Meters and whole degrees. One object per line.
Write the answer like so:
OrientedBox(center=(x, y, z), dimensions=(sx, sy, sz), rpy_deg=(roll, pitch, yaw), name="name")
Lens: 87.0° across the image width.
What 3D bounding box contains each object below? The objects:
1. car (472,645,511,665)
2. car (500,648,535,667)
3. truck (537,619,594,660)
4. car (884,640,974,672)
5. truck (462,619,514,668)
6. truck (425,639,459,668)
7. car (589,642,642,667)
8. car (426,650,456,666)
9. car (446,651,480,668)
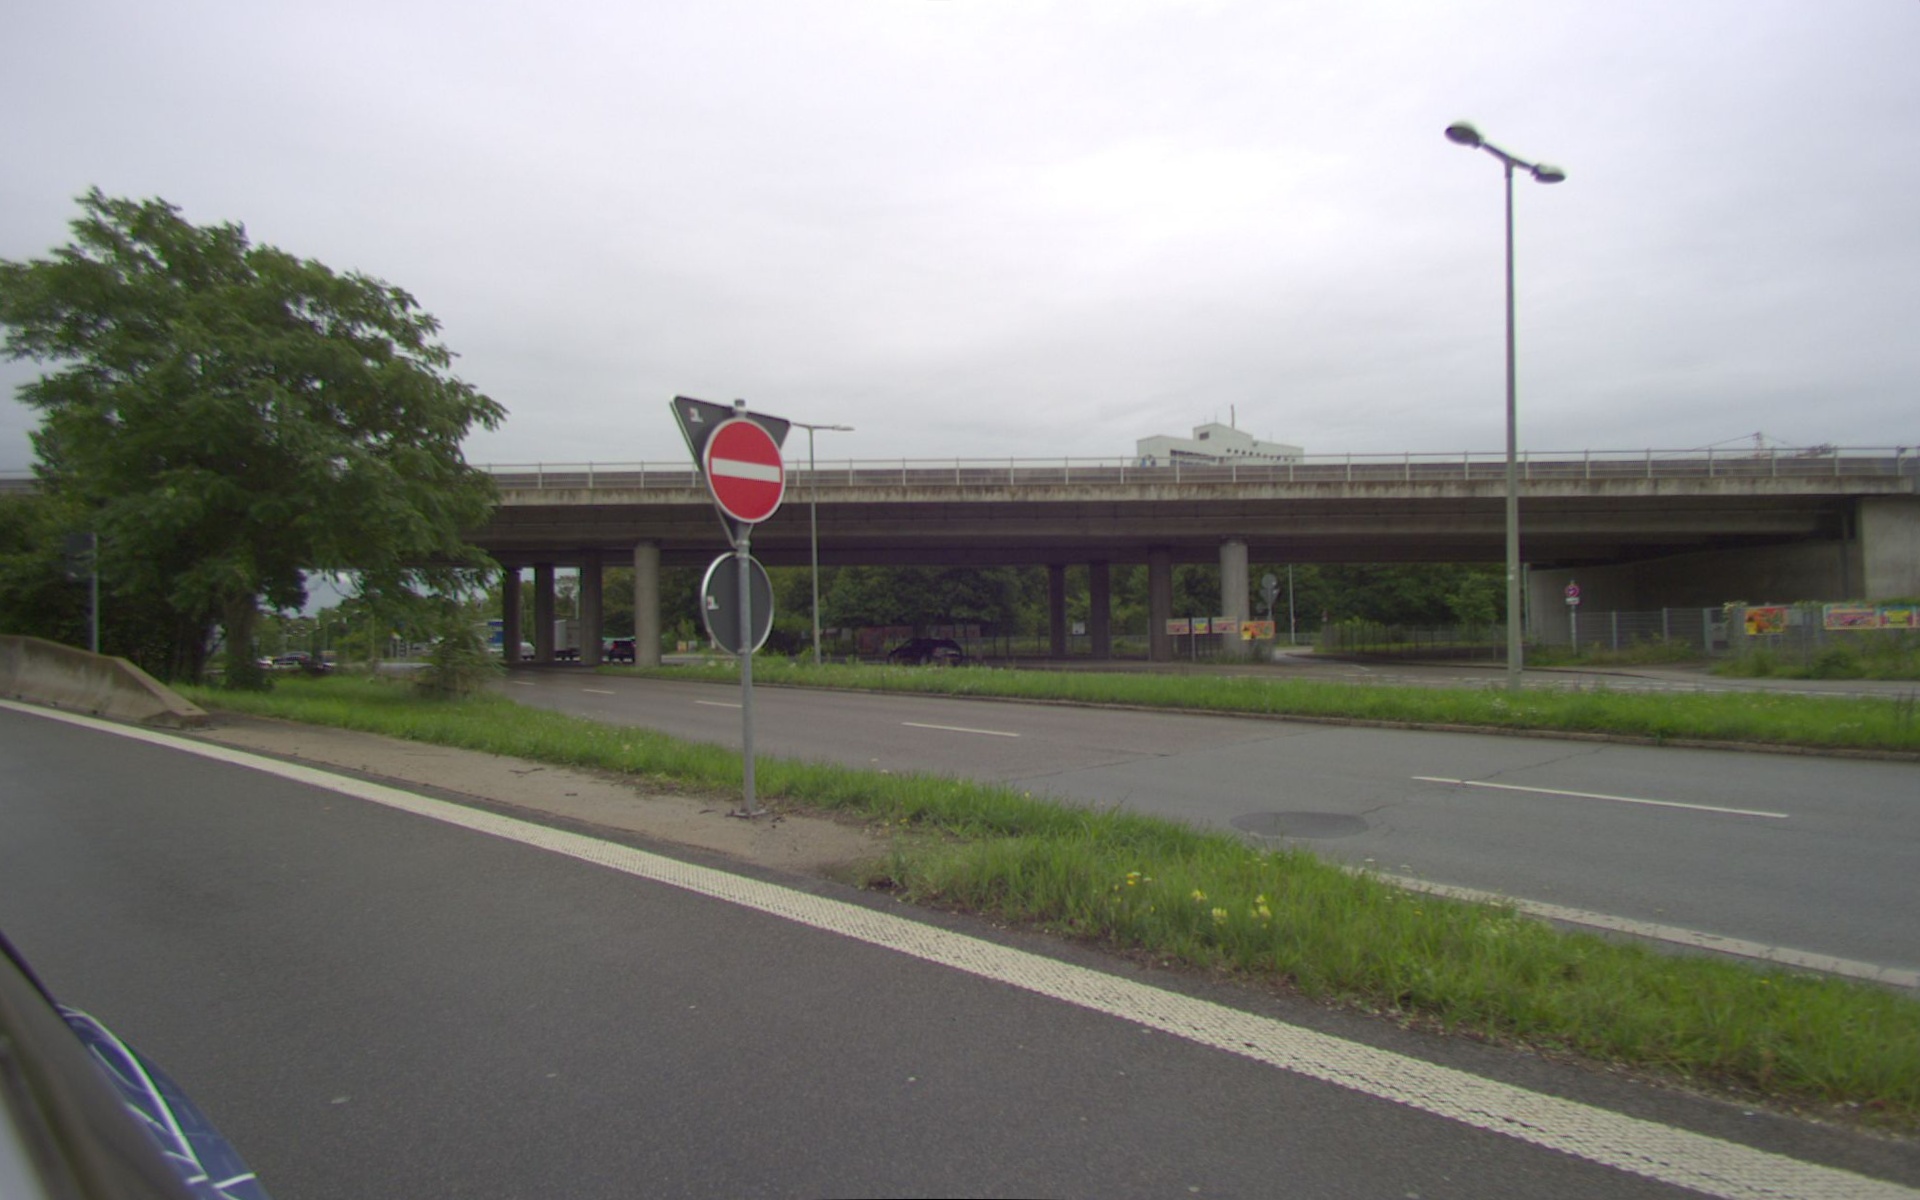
OrientedBox(center=(-39.948, 4.675, 86.199), dimensions=(1.943, 1.595, 4.600), rpy_deg=(4, -4, -38), name="car")
OrientedBox(center=(-40.111, 5.217, 91.683), dimensions=(1.943, 1.595, 4.602), rpy_deg=(3, -4, -36), name="car")
OrientedBox(center=(-30.557, 3.097, 78.173), dimensions=(2.223, 3.000, 7.250), rpy_deg=(3, -4, -36), name="truck")
OrientedBox(center=(-1.525, 2.617, 47.991), dimensions=(1.942, 1.407, 4.828), rpy_deg=(2, -3, -35), name="car")
OrientedBox(center=(-47.473, 4.358, 101.597), dimensions=(2.753, 4.627, 9.624), rpy_deg=(3, -4, -36), name="truck")
OrientedBox(center=(-66.753, 6.882, 130.386), dimensions=(2.753, 3.708, 6.659), rpy_deg=(3, -4, -36), name="truck")
OrientedBox(center=(-23.317, 3.647, 68.460), dimensions=(1.943, 1.595, 4.600), rpy_deg=(4, -4, -38), name="car")
OrientedBox(center=(-53.626, 5.952, 104.574), dimensions=(1.943, 1.595, 4.600), rpy_deg=(1, -3, -38), name="car")
OrientedBox(center=(-47.424, 5.665, 96.466), dimensions=(1.943, 1.595, 4.600), rpy_deg=(4, -4, -38), name="car")
